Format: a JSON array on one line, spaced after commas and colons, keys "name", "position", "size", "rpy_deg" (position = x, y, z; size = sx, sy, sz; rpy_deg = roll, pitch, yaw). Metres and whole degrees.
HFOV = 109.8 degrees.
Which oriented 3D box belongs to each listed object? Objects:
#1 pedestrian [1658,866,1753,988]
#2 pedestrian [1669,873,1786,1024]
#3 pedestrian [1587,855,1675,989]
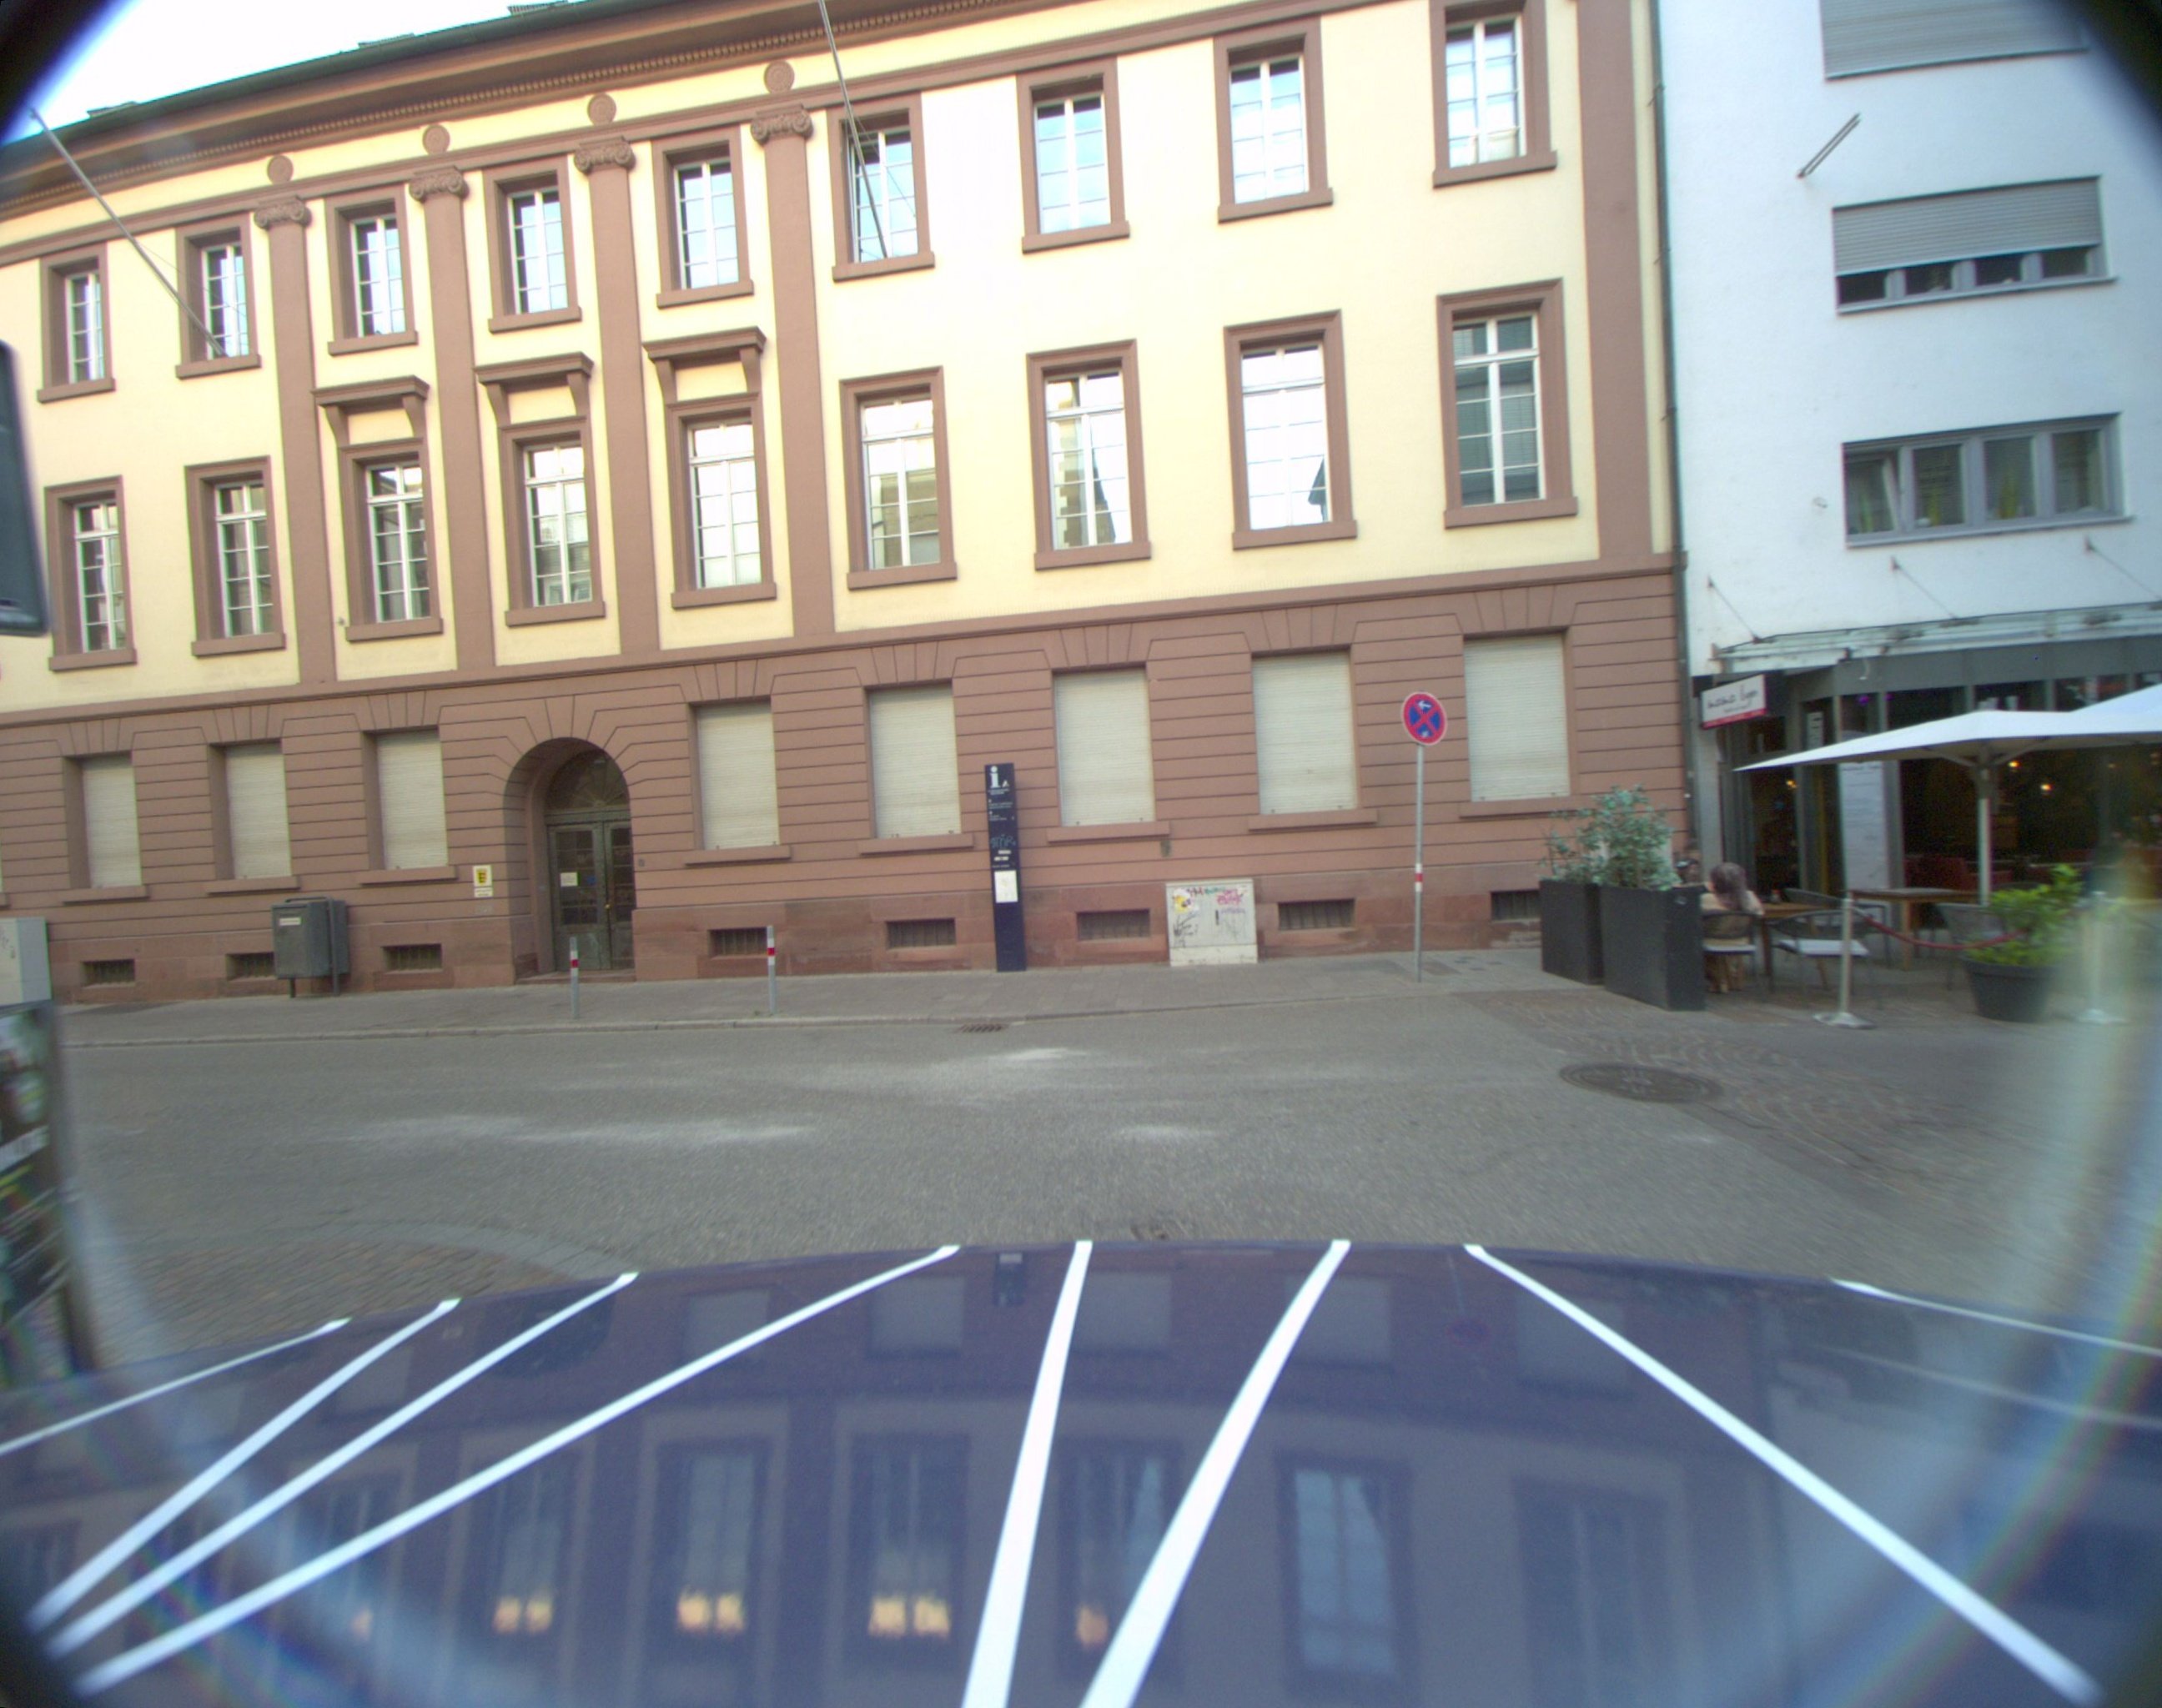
[{"name": "pedestrian", "position": [6.538, 0.749, 7.978], "size": [0.548, 1.204, 0.524], "rpy_deg": [-3, 1, 9]}, {"name": "pedestrian", "position": [5.470, 0.788, 6.450], "size": [0.561, 1.204, 0.461], "rpy_deg": [-3, 1, 9]}, {"name": "pedestrian", "position": [5.799, 0.703, 8.032], "size": [0.548, 1.341, 0.489], "rpy_deg": [-3, 1, 9]}]
